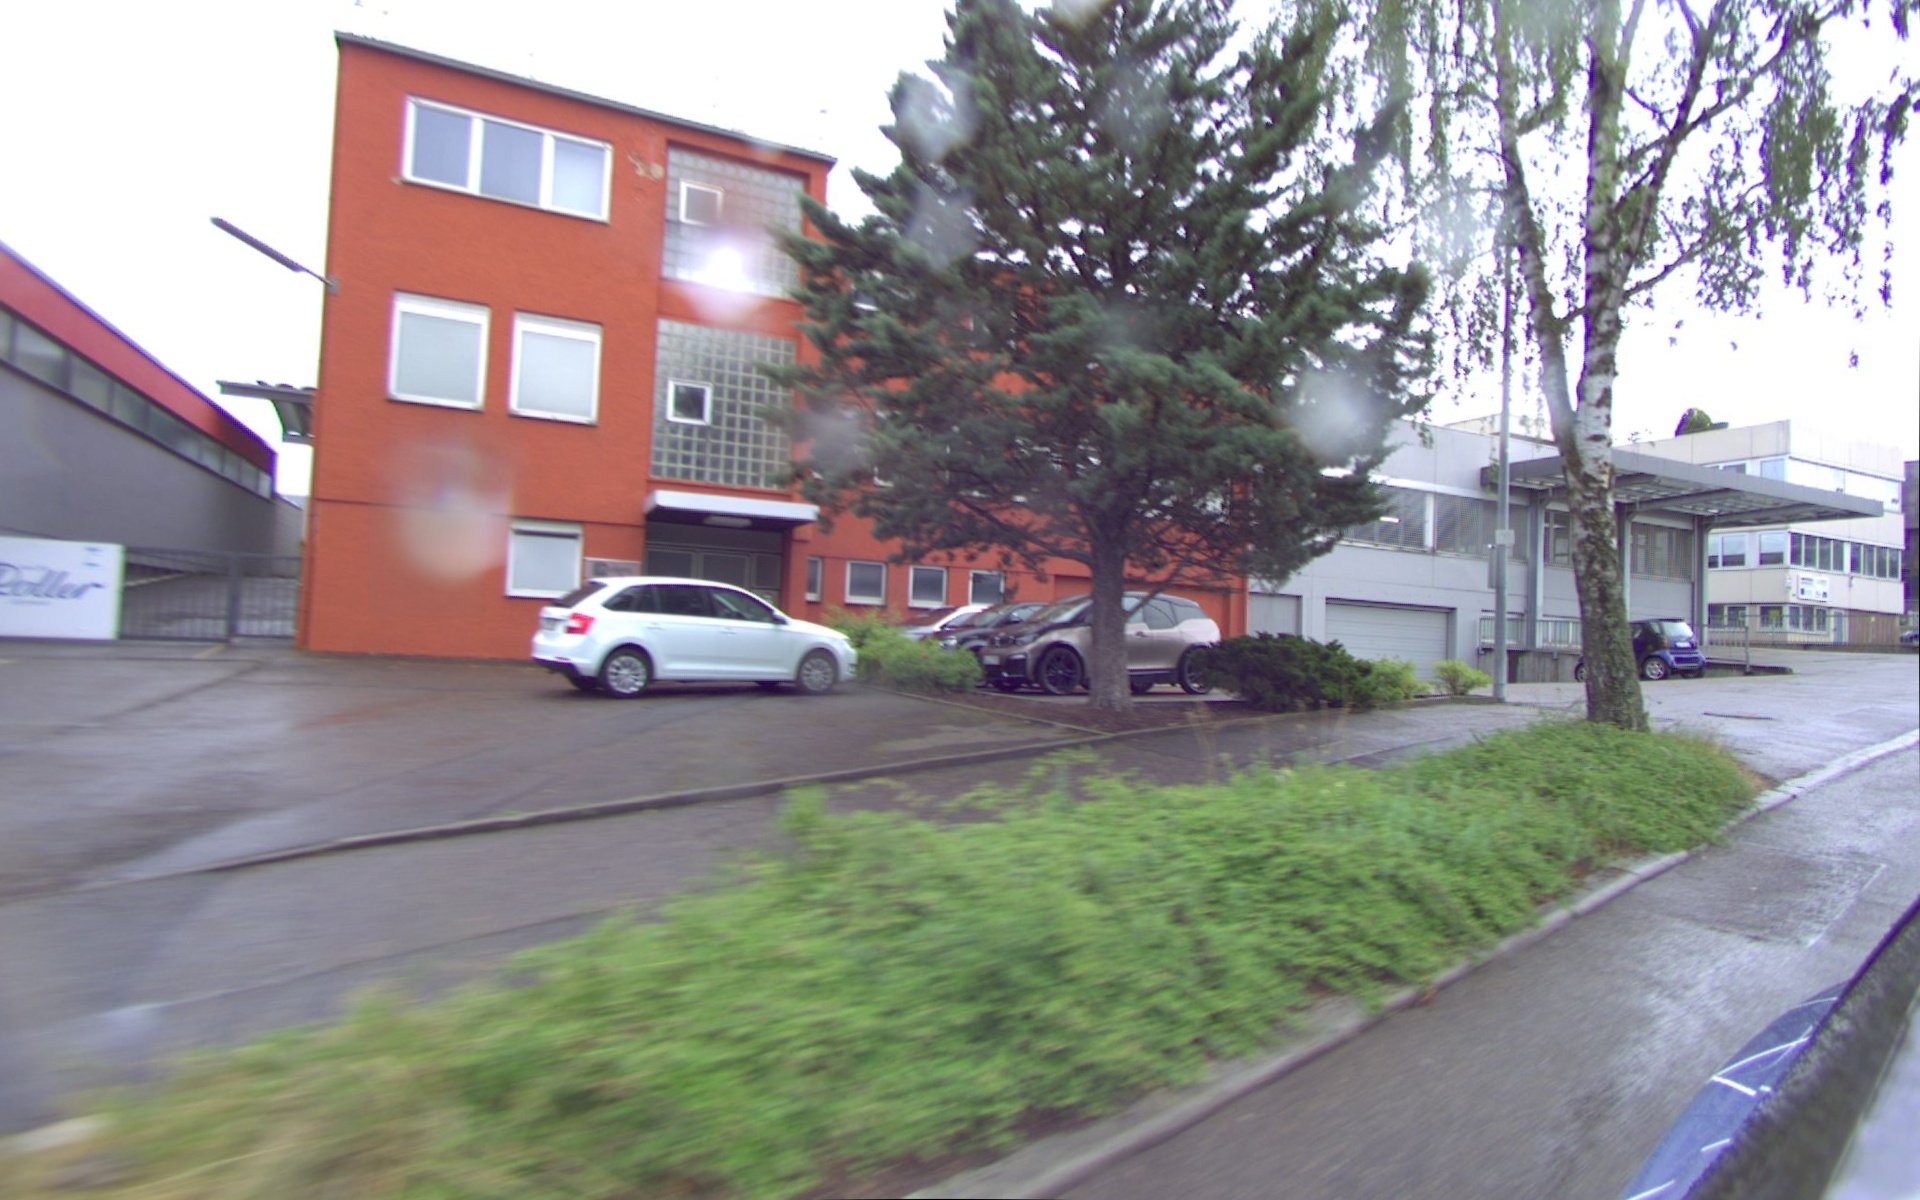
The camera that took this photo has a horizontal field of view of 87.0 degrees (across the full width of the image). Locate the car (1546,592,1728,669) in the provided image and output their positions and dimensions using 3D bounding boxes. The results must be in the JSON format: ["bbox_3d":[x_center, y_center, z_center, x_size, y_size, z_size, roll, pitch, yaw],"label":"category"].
[{"bbox_3d":[17.114,0.821,25.775,1.584,1.520,3.448,0,-9,-20],"label":"car"}]

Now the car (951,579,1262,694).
[{"bbox_3d":[2.283,0.547,15.876,4.417,1.600,2.005,0,-2,-23],"label":"car"}]

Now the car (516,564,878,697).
[{"bbox_3d":[-3.396,0.348,13.446,4.249,1.489,1.909,1,0,-38],"label":"car"}]

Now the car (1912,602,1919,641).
[{"bbox_3d":[39.811,0.880,39.352,1.598,1.559,3.756,0,0,-27],"label":"car"}]
